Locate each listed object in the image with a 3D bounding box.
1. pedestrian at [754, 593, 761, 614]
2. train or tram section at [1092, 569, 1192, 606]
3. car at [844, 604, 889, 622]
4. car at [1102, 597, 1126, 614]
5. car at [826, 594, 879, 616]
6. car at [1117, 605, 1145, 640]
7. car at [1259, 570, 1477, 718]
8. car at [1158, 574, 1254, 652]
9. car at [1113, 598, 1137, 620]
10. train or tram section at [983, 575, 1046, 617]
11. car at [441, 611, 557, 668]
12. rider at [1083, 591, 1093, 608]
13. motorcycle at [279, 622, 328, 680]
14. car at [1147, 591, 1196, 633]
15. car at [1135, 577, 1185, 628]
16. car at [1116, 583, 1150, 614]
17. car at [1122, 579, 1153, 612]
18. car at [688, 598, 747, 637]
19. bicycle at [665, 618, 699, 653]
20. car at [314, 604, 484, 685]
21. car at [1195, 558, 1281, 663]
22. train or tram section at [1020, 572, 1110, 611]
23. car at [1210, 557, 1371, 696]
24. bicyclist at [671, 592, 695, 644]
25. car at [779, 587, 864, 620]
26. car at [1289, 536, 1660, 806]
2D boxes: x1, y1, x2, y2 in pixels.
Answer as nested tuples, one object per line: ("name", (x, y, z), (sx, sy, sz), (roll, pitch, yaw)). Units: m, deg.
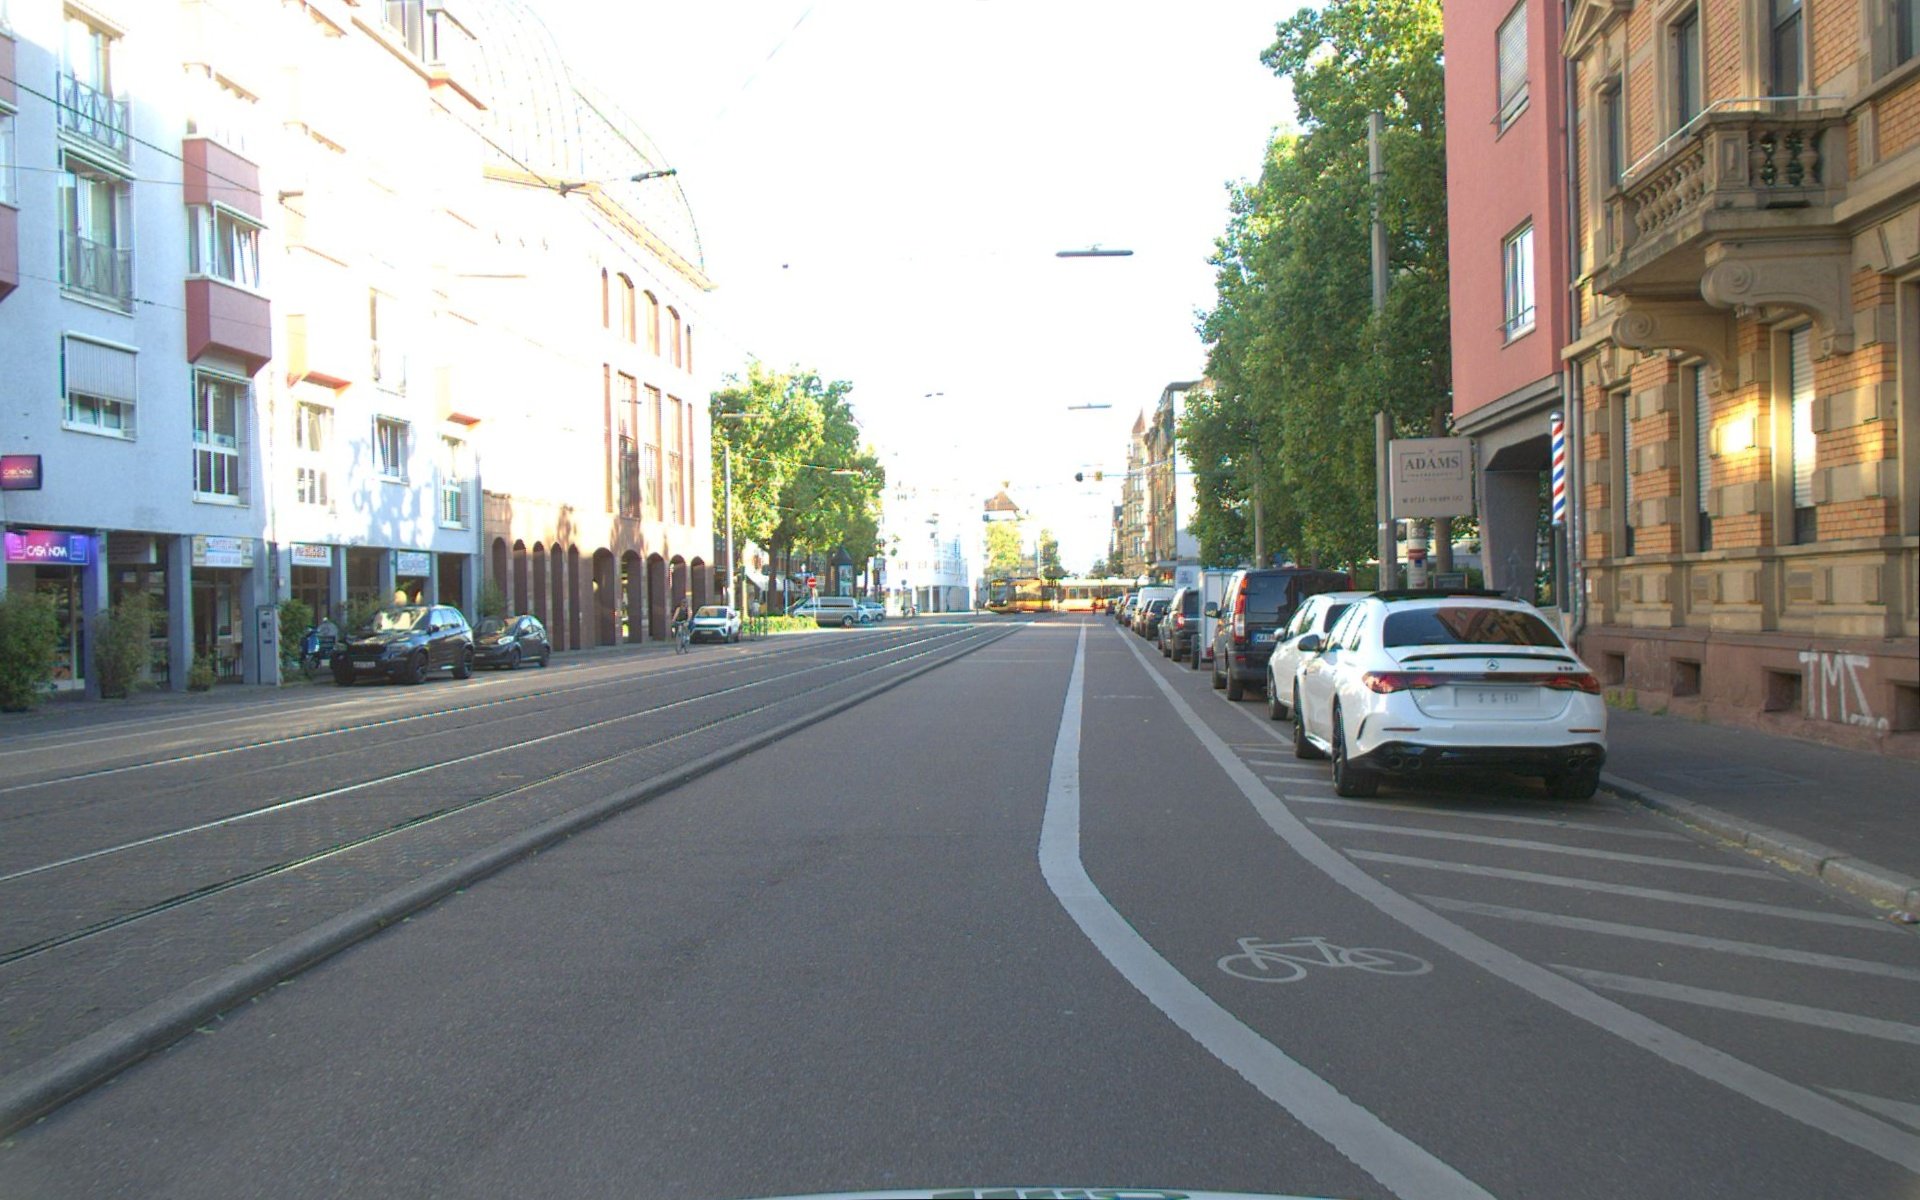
("pedestrian", (-13.114, 0.213, 107.342), (0.356, 1.367, 0.481), (1, 0, -16))
("train or tram section", (20.234, -1.379, 183.740), (11.097, 3.818, 2.682), (1, 0, -23))
("car", (-7.913, 1.082, 140.136), (3.479, 1.507, 1.568), (0, 0, -28))
("car", (13.901, 0.497, 149.157), (2.022, 1.413, 4.227), (1, 0, 4))
("car", (-8.432, 0.377, 129.798), (3.822, 1.656, 1.860), (0, 0, -27))
("car", (10.354, 1.328, 100.396), (1.587, 2.041, 3.833), (1, 0, 4))
("car", (4.572, 0.441, 19.059), (1.694, 1.522, 3.963), (0, 0, 3))
("car", (6.084, 0.300, 41.343), (1.909, 1.819, 5.184), (0, 0, 3))
("car", (12.222, 0.645, 122.612), (1.587, 1.582, 4.085), (1, 0, 4))
("train or tram section", (5.623, -0.384, 166.307), (2.636, 4.029, 12.092), (1, 0, 20))
("car", (-12.629, 1.050, 45.491), (1.829, 1.476, 3.586), (0, 0, 7))
("rider", (11.658, -0.042, 150.277), (0.865, 1.507, 0.713), (1, 0, 5))
("motorcycle", (-14.570, 1.115, 36.752), (0.658, 1.226, 2.134), (0, -1, -12))
("car", (7.594, 0.410, 59.736), (1.587, 1.456, 3.987), (-1, 0, 5))
("car", (8.551, 0.097, 70.994), (1.929, 2.049, 4.561), (-3, 0, 5))
("car", (9.368, -0.078, 89.714), (1.686, 1.595, 4.085), (-2, 0, 4))
("car", (10.245, -0.254, 95.764), (1.587, 1.845, 4.085), (1, 0, 4))
("car", (-10.583, 0.746, 72.511), (1.830, 1.628, 4.255), (-1, 0, 2))
("bicycle", (-9.327, 1.181, 55.583), (0.570, 1.096, 2.187), (-3, 0, 4))
("car", (-12.921, 0.988, 38.449), (2.047, 1.742, 4.821), (0, -1, 4))
("car", (5.997, 0.224, 35.985), (1.669, 2.157, 3.709), (0, 0, 7))
("train or tram section", (11.377, -0.859, 176.806), (2.650, 3.946, 12.778), (1, 0, 39))
("car", (4.922, 0.341, 25.247), (1.914, 1.901, 4.992), (0, 0, 6))
("bicyclist", (-9.332, 0.602, 55.794), (0.559, 1.742, 0.746), (-3, 0, 4))
("car", (-9.246, 0.255, 110.505), (5.191, 2.078, 2.397), (1, -1, -28))
("car", (3.929, 0.460, 13.532), (1.925, 1.802, 4.878), (0, 0, 5))
